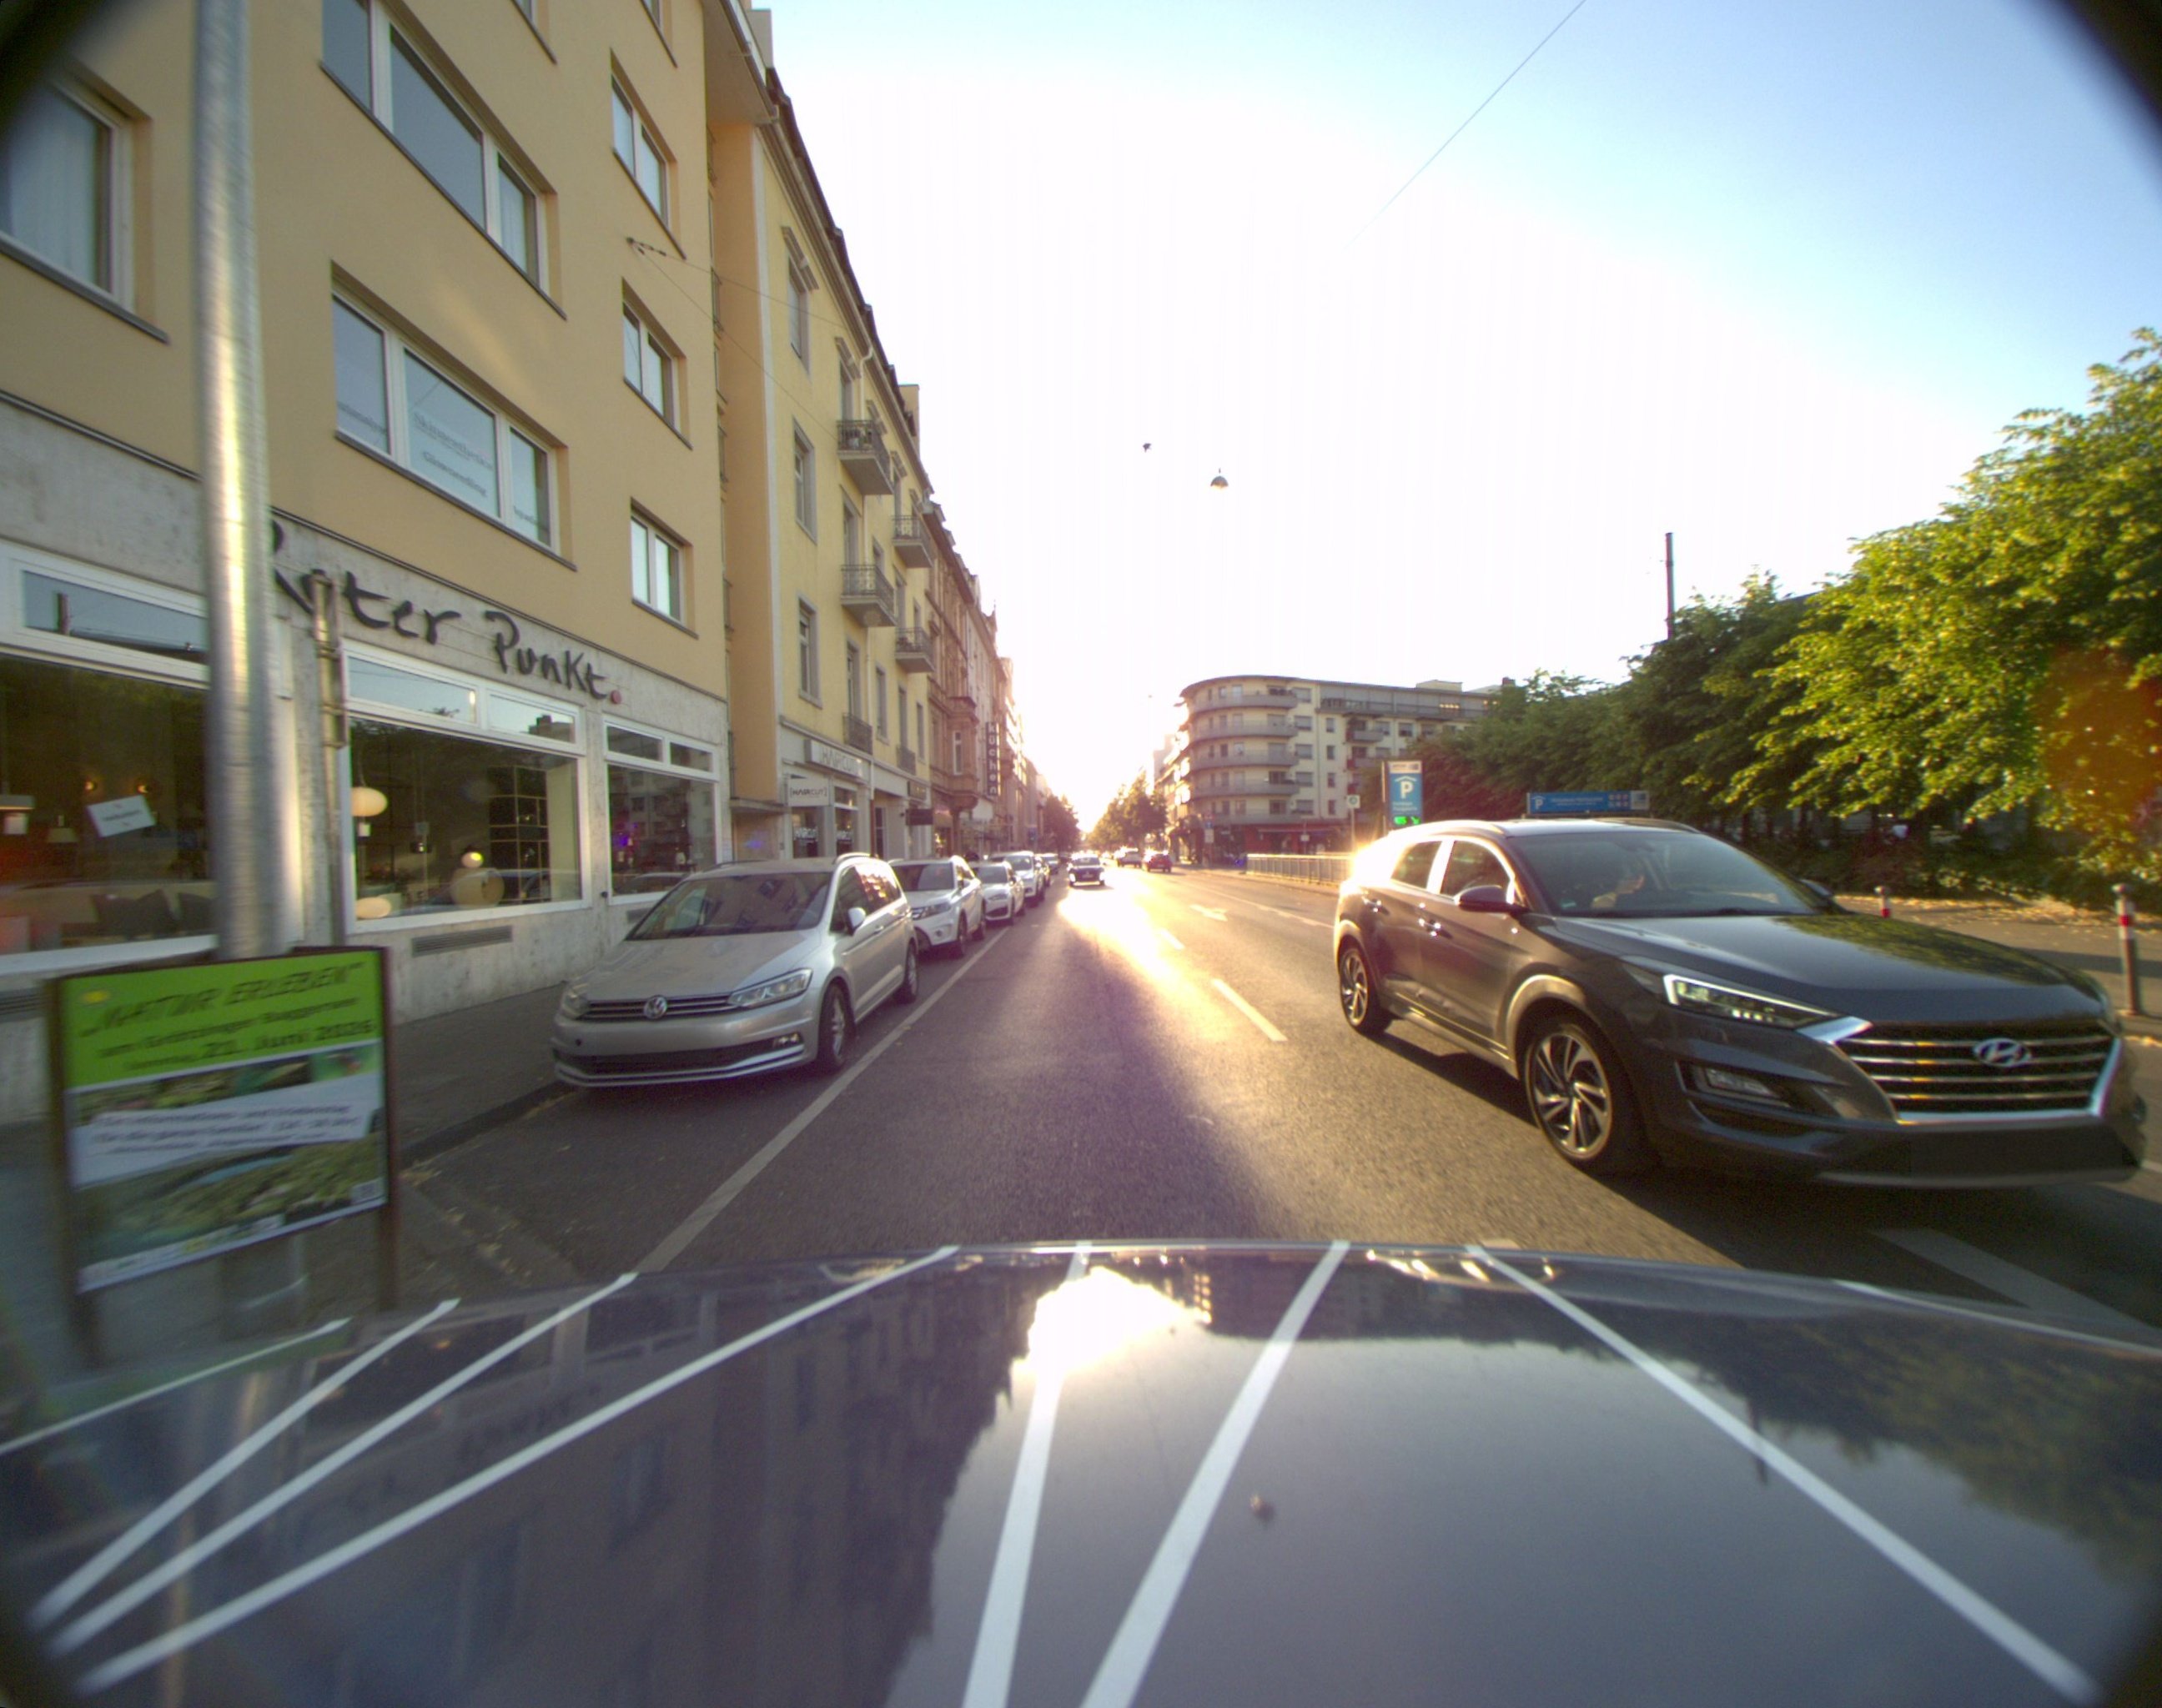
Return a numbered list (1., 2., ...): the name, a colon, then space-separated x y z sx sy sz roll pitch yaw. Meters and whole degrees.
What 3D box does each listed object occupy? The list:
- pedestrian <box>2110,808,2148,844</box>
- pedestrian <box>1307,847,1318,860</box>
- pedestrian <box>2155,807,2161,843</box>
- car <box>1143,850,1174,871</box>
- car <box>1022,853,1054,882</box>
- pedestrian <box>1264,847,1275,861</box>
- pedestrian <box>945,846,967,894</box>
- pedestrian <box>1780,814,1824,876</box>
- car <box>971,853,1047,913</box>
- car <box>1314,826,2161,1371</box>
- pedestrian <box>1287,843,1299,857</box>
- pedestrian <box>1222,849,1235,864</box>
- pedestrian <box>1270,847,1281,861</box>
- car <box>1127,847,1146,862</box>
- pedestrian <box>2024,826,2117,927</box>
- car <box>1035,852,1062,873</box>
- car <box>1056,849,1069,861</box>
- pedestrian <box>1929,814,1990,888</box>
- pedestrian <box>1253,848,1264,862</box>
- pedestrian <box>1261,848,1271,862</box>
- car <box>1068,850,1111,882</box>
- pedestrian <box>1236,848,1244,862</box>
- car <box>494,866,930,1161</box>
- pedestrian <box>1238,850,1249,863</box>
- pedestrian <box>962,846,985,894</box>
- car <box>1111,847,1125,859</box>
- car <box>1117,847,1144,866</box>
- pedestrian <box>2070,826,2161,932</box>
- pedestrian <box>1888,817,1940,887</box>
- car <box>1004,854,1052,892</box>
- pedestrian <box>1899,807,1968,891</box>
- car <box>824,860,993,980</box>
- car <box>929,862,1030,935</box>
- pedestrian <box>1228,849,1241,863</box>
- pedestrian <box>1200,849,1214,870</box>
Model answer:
1. pedestrian: 41.140 -1.102 29.824 0.662 1.368 0.654 -3 1 -14
2. pedestrian: 23.098 -0.047 75.787 0.731 1.314 0.890 -2 1 39
3. pedestrian: 41.231 -1.120 28.662 0.520 1.368 0.654 -2 1 -14
4. car: 5.596 0.444 55.349 1.790 1.458 3.956 -1 1 -1
5. car: -2.522 0.782 45.144 1.645 1.574 4.201 -2 0 -1
6. pedestrian: 18.377 0.021 74.095 0.688 1.314 0.819 -3 1 -23
7. pedestrian: -5.261 0.663 31.978 0.673 2.002 0.851 -2 1 1
8. pedestrian: 24.076 -0.303 25.382 0.907 2.002 0.738 -3 1 -22
9. car: -2.184 0.830 24.305 1.877 1.664 4.430 -2 0 1
10. car: 3.066 0.746 4.597 1.877 1.679 4.449 -1 0 -1
11. pedestrian: 20.641 -0.350 73.919 0.733 1.314 0.887 -2 1 -14
12. pedestrian: 13.859 0.237 71.547 0.890 1.314 0.731 -3 1 -26
13. pedestrian: 18.625 0.002 72.766 0.733 1.314 0.888 -2 1 -13
14. car: 7.121 0.053 98.022 1.999 1.805 3.999 -2 0 -1
15. pedestrian: 20.317 0.458 15.617 0.904 2.002 0.740 -2 1 24
16. car: -2.434 0.619 58.218 1.908 1.421 4.449 -2 0 -1
17. car: -3.013 0.161 123.817 1.999 1.806 3.997 -1 2 -3
18. pedestrian: 24.681 -0.091 21.348 0.906 2.002 0.738 -2 1 -11
19. pedestrian: 16.987 0.062 72.686 0.732 1.314 0.888 -2 1 -1
20. pedestrian: 17.681 0.103 72.637 0.732 1.314 0.888 -2 1 -2
21. car: 0.350 0.565 37.793 1.908 1.438 4.448 -2 0 -1
22. pedestrian: 15.219 0.113 72.747 0.677 1.314 0.611 -2 1 -1
23. car: -2.671 0.993 6.903 1.702 1.607 4.681 -2 0 -1
24. pedestrian: 15.342 0.220 71.737 0.887 1.185 0.733 -2 1 10
25. pedestrian: -4.596 0.669 32.477 0.763 2.002 0.851 -2 1 1
26. car: 6.085 -0.165 125.054 1.999 1.805 3.999 -2 0 -1
27. car: 4.598 0.240 70.533 1.878 1.621 4.176 0 0 -5
28. pedestrian: 20.226 0.477 14.811 0.904 2.002 0.740 -2 1 28
29. pedestrian: 24.652 -0.064 22.485 0.907 2.002 0.738 -3 1 -22
30. car: -2.404 0.831 35.428 1.908 1.531 4.449 -2 0 -1
31. pedestrian: 20.978 -0.117 18.716 0.904 2.002 0.740 -2 1 28
32. car: -2.721 0.967 13.019 1.821 1.611 4.203 -2 0 1
33. car: -2.337 0.980 18.693 1.738 1.448 4.610 -2 0 1
34. pedestrian: 14.295 0.168 70.724 0.890 1.314 0.731 -3 1 -31
35. pedestrian: 9.198 0.411 55.587 0.678 1.509 0.676 -3 1 -42
